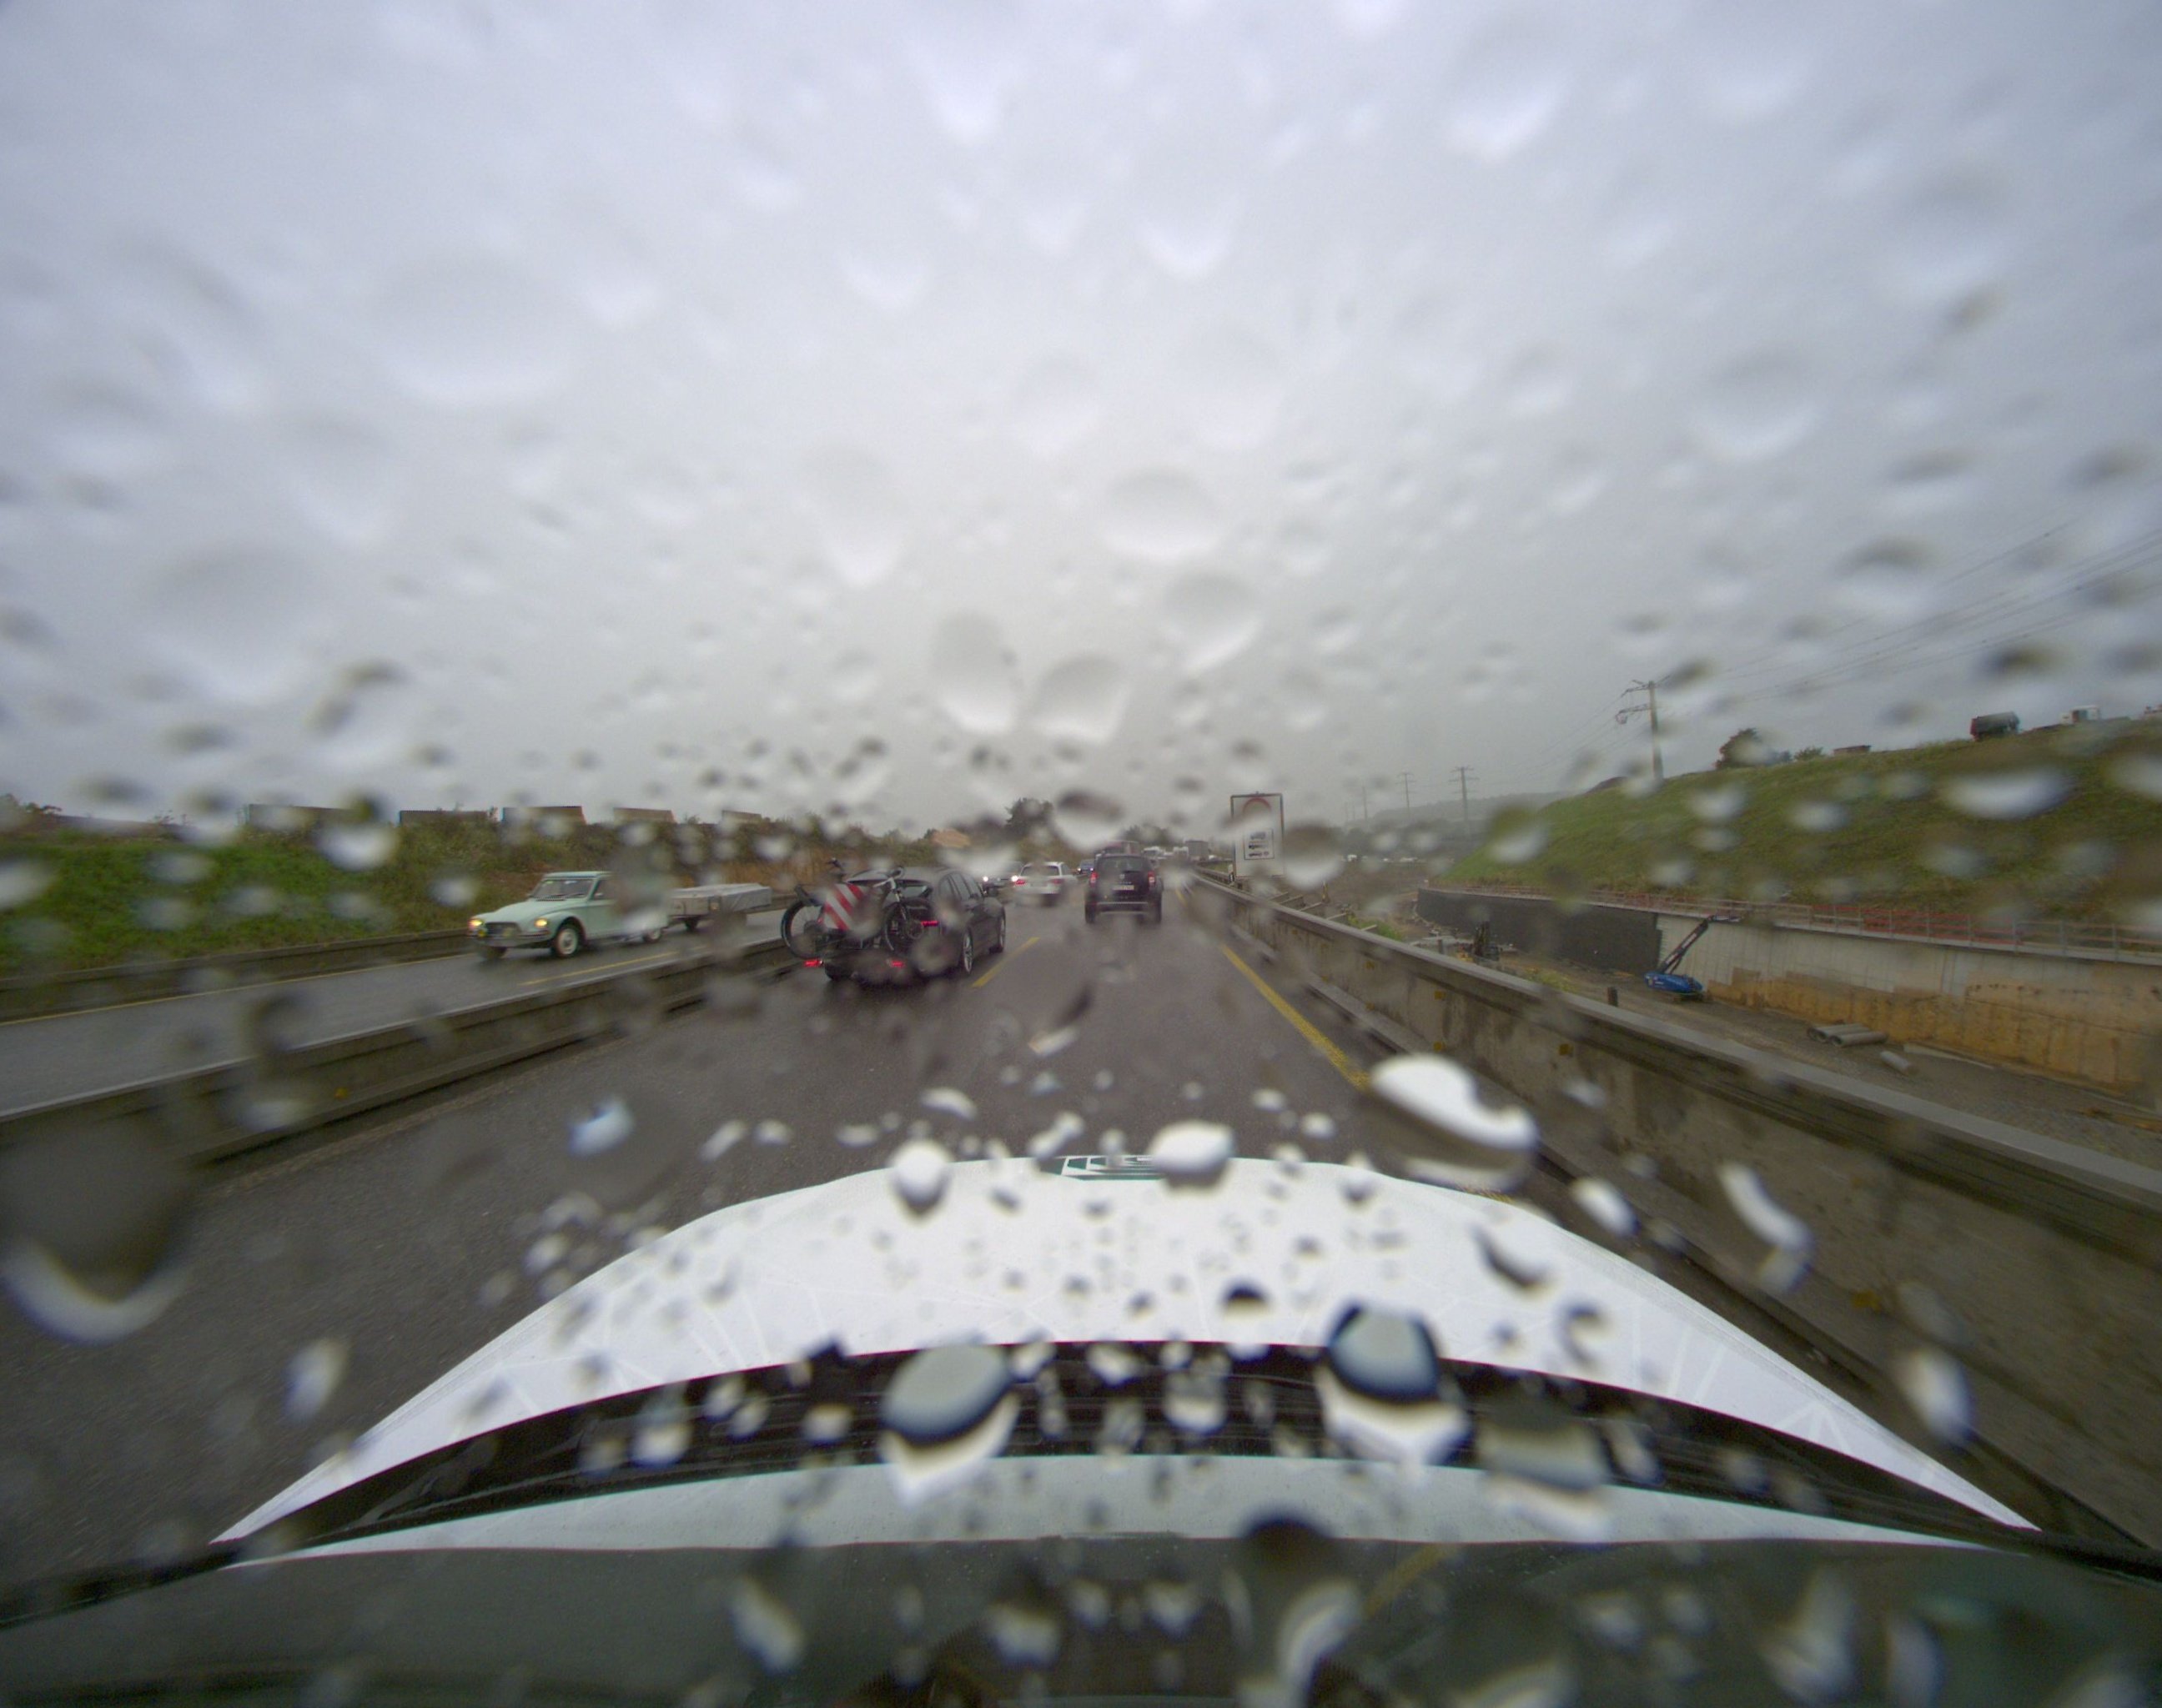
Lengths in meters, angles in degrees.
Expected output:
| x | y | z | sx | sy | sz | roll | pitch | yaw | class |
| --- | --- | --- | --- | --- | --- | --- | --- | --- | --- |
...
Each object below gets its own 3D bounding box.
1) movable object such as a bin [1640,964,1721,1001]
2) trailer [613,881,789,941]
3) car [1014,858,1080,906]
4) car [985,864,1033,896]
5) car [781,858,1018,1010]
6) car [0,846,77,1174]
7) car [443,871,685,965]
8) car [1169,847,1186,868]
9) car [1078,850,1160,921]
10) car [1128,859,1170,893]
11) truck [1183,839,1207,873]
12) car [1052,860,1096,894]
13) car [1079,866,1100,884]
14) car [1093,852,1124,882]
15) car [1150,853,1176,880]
| x | y | z | sx | sy | sz | roll | pitch | yaw | class |
| --- | --- | --- | --- | --- | --- | --- | --- | --- | --- |
| 39.564 | 8.462 | 53.788 | 2.008 | 2.014 | 3.799 | 3 | -4 | -35 | movable object such as a bin |
| -8.693 | 1.253 | 19.152 | 1.572 | 1.088 | 4.719 | -1 | 0 | 5 | trailer |
| -1.084 | 0.906 | 27.680 | 1.818 | 1.499 | 4.003 | -1 | -1 | 3 | car |
| -3.402 | 1.194 | 38.977 | 1.572 | 1.383 | 4.005 | -1 | 0 | 5 | car |
| -2.169 | 0.876 | 11.557 | 1.727 | 1.462 | 5.635 | -1 | 1 | 4 | car |
| -6.427 | 0.801 | 2.160 | 1.814 | 1.639 | 4.488 | -1 | 0 | 3 | car |
| -9.082 | 1.044 | 14.769 | 1.572 | 1.383 | 4.005 | -1 | 0 | 5 | car |
| 12.047 | 0.464 | 101.384 | 1.815 | 2.437 | 4.168 | -1 | -1 | 9 | car |
| 0.980 | 0.740 | 20.327 | 1.818 | 1.591 | 4.003 | -1 | -1 | 3 | car |
| 3.156 | 1.022 | 38.325 | 1.818 | 1.499 | 4.003 | -1 | -1 | 3 | car |
| 18.080 | 0.367 | 128.709 | 3.522 | 5.077 | 10.468 | -1 | -1 | 9 | truck |
| -0.266 | 1.072 | 38.565 | 1.818 | 1.499 | 4.003 | -1 | -1 | 3 | car |
| 0.759 | 1.820 | 71.118 | 1.572 | 1.383 | 4.005 | -1 | 0 | 5 | car |
| 1.819 | 0.856 | 52.549 | 1.818 | 1.815 | 4.004 | -1 | -1 | 4 | car |
| 5.957 | 0.912 | 59.459 | 1.817 | 1.815 | 4.005 | -1 | -1 | 5 | car |
